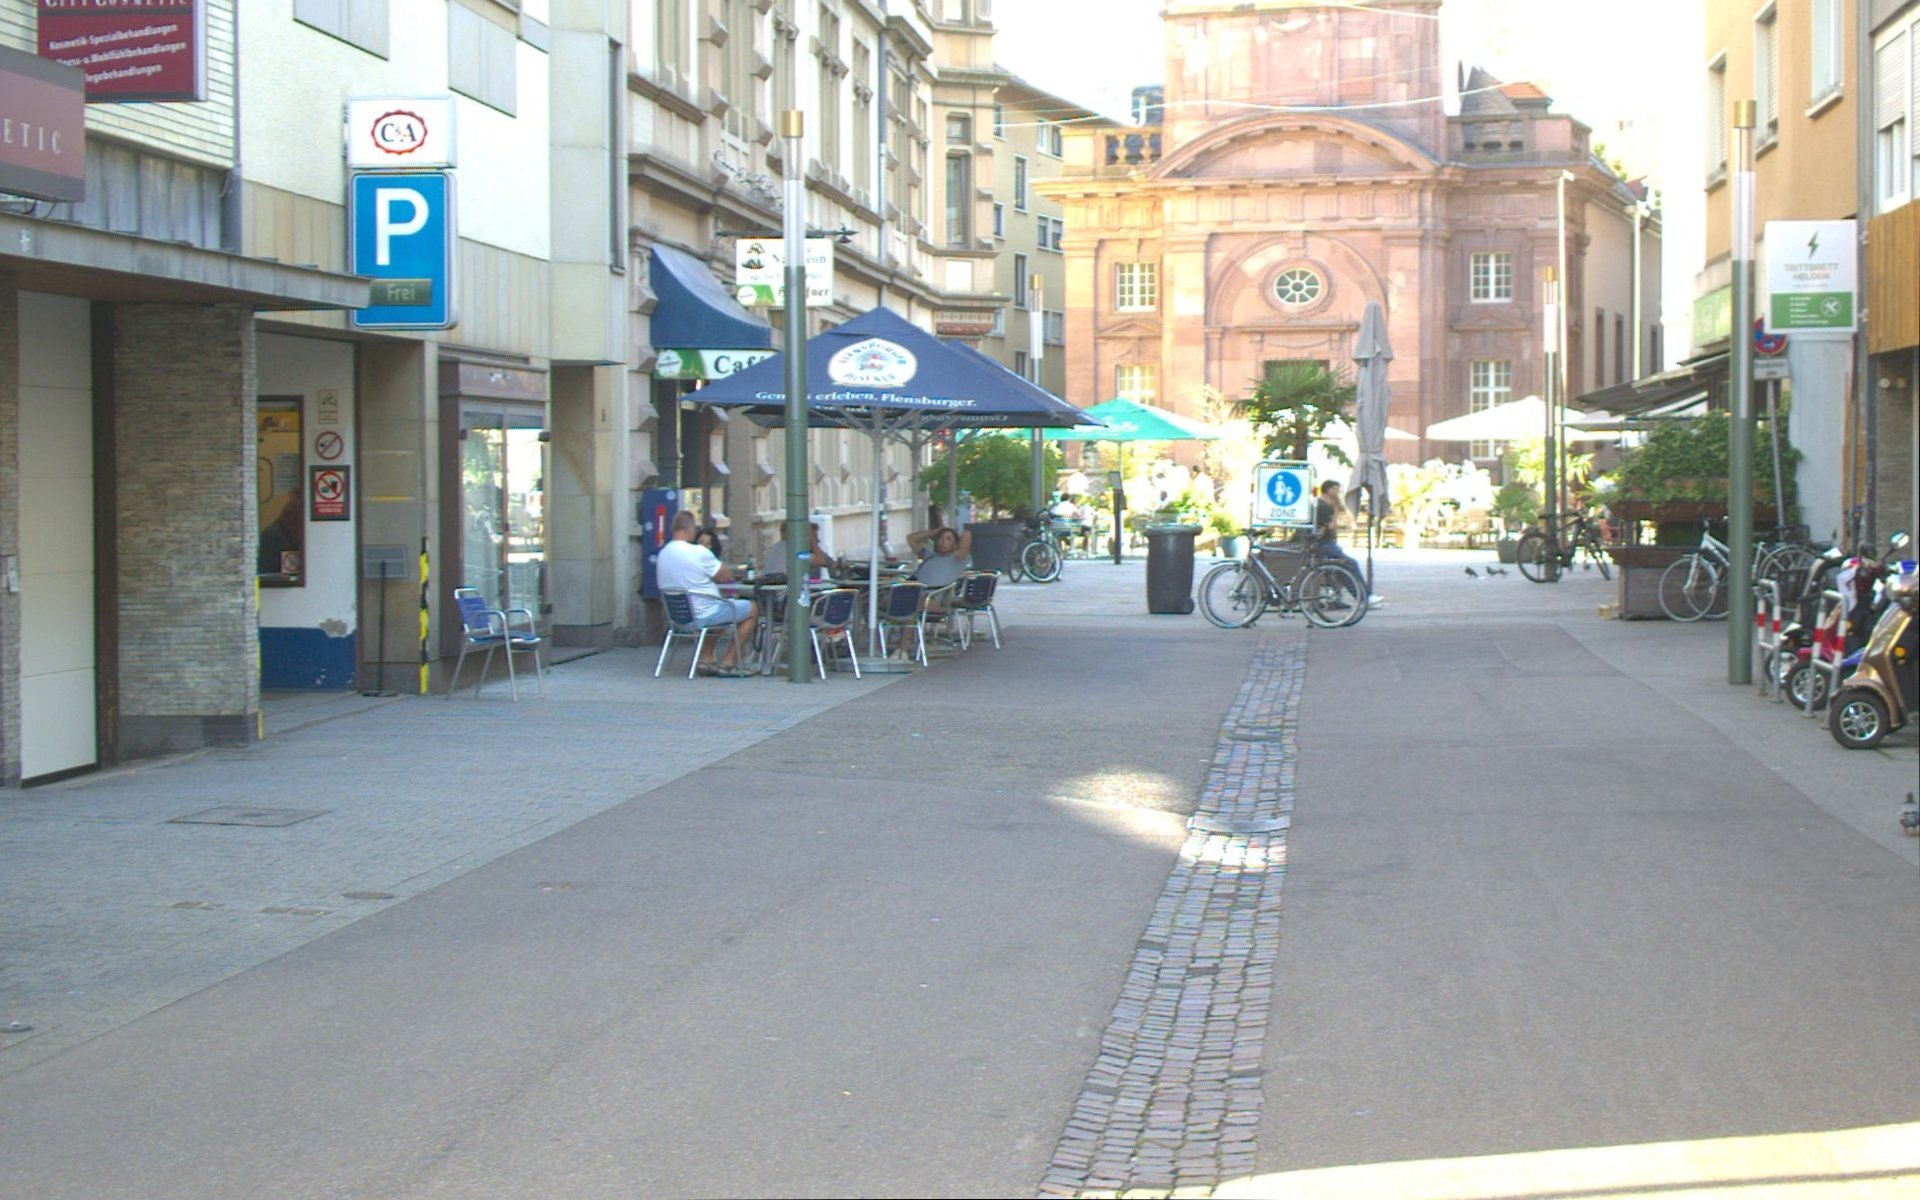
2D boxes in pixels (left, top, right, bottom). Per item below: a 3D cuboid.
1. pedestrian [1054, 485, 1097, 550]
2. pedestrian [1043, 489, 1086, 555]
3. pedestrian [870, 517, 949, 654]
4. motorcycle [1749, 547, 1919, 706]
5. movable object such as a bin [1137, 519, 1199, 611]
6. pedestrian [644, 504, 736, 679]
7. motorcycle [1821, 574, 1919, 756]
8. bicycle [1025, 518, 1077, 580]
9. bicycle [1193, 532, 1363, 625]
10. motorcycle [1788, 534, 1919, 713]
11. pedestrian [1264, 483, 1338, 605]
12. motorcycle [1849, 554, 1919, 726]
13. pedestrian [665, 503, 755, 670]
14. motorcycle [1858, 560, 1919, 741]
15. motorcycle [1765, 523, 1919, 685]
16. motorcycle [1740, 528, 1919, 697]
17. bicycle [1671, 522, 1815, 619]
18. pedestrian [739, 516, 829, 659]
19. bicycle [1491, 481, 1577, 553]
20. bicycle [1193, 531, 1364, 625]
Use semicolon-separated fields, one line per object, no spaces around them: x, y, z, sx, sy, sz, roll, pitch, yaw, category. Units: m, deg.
2.200;-1.574;65.453;0.701;1.213;0.719;0;2;12;pedestrian
1.947;-1.463;64.044;0.701;1.213;0.719;0;2;12;pedestrian
-0.455;-0.137;30.777;0.692;1.211;0.583;0;2;-2;pedestrian
6.221;0.178;23.652;1.485;1.072;0.412;0;2;24;motorcycle
2.459;-0.415;40.603;0.721;1.071;0.374;0;2;5;movable object such as a bin
-2.158;-0.077;27.420;0.708;1.363;0.720;0;2;-6;pedestrian
5.800;0.372;19.854;1.566;1.038;0.372;0;2;24;motorcycle
1.328;-0.749;49.796;0.457;0.847;2.146;0;2;9;bicycle
3.467;-0.237;37.549;1.824;1.001;0.381;0;2;3;bicycle
6.354;0.151;22.780;1.626;1.171;0.480;0;2;24;motorcycle
4.138;-0.688;41.666;0.884;1.459;0.731;0;2;7;pedestrian
6.375;0.250;21.583;1.485;1.072;0.412;0;2;24;motorcycle
-2.085;-0.121;28.589;0.717;1.363;0.710;0;2;-6;pedestrian
6.189;0.301;20.585;1.518;1.072;0.412;0;2;24;motorcycle
6.741;0.027;25.437;1.485;1.177;0.412;0;2;21;motorcycle
6.338;0.082;24.478;1.485;1.177;0.412;0;2;21;motorcycle
8.253;-0.321;36.232;1.464;1.001;0.573;0;2;13;bicycle
-1.537;-0.120;30.152;0.765;1.229;0.831;0;2;-2;pedestrian
10.397;-1.511;62.286;1.586;1.303;0.366;-1;2;-23;bicycle
3.438;-0.244;37.157;1.824;1.001;0.381;0;2;3;bicycle
